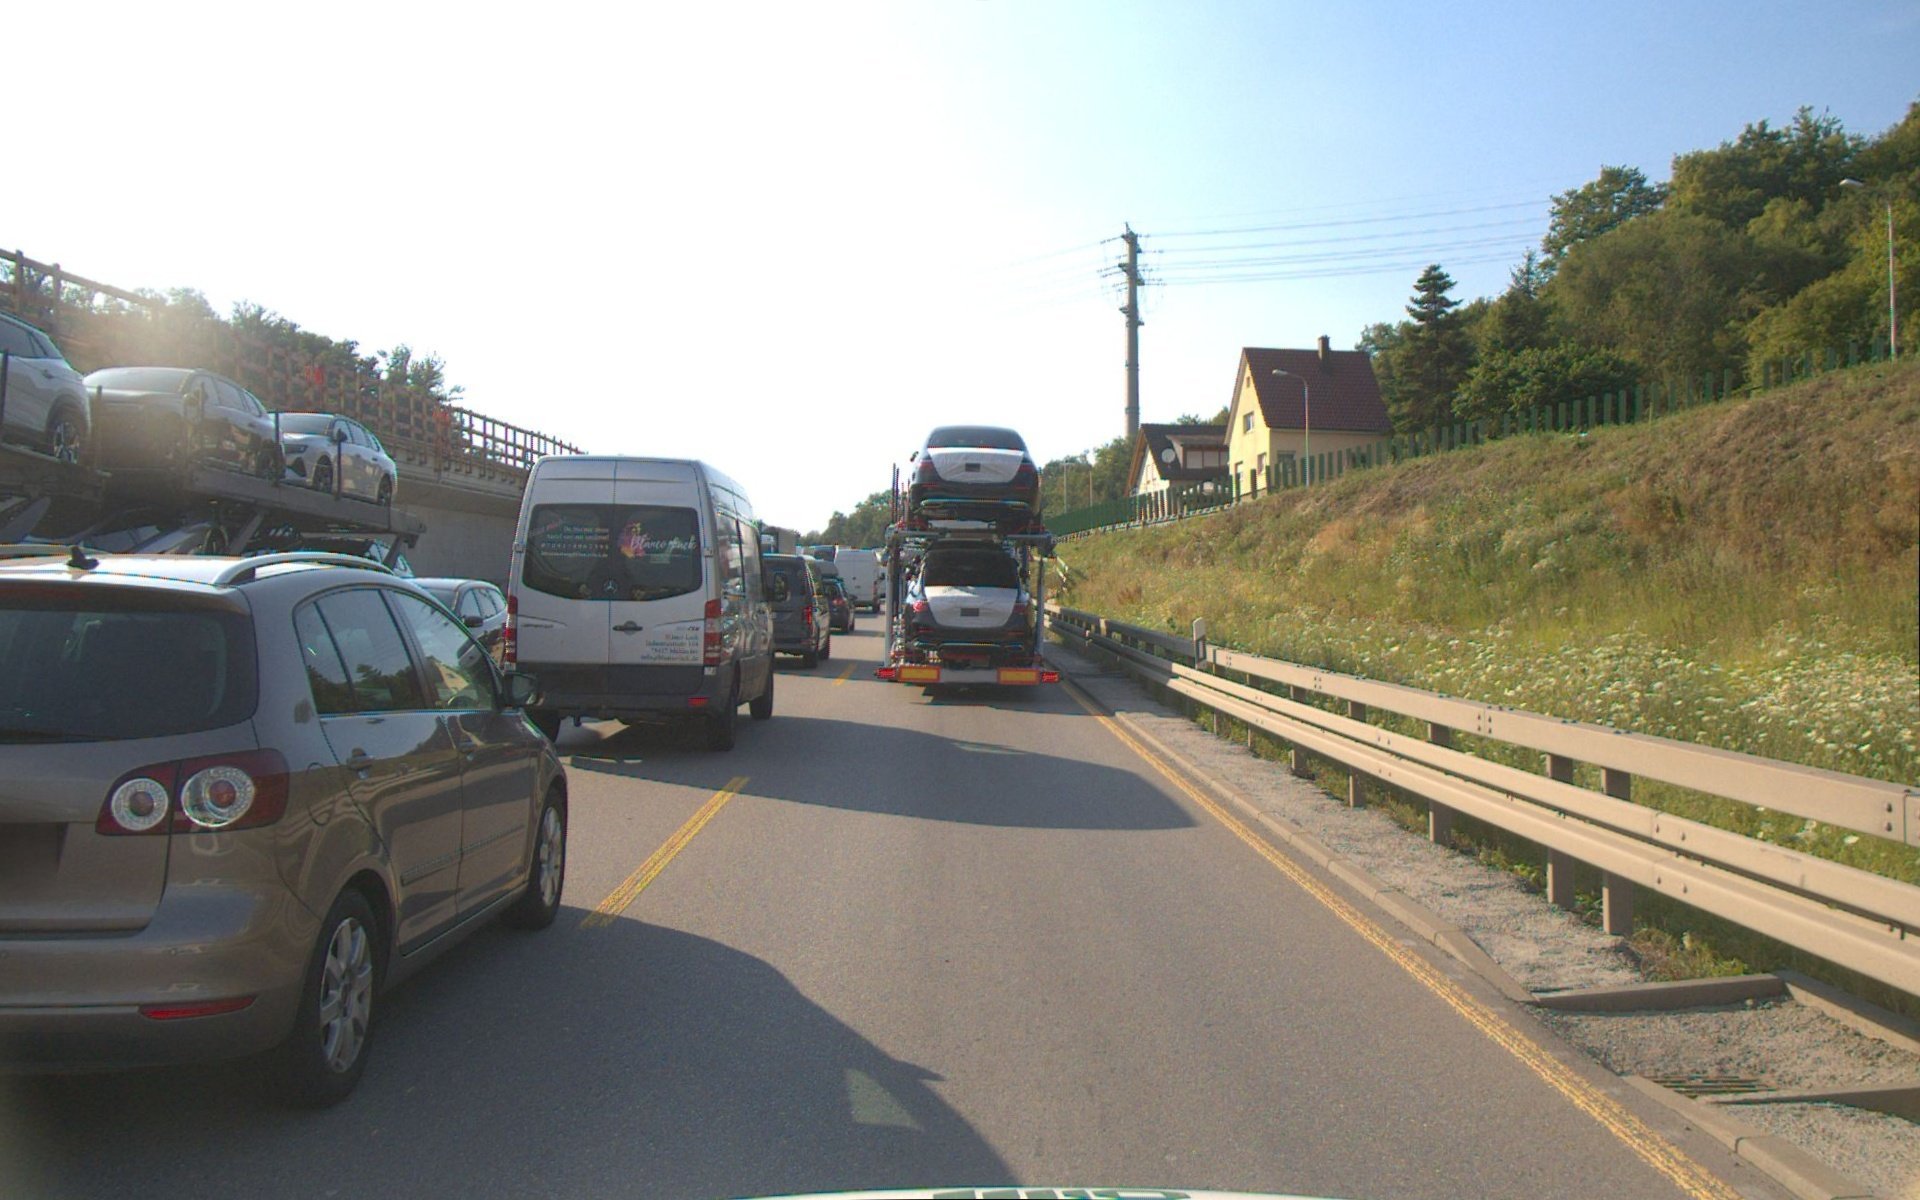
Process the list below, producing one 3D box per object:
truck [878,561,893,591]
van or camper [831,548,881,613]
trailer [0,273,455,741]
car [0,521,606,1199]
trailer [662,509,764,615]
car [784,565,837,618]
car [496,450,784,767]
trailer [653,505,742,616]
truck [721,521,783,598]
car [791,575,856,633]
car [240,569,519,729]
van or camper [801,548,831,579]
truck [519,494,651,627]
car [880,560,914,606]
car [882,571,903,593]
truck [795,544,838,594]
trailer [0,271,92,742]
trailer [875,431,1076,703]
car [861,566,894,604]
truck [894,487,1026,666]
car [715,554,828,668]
[{"bbox_3d":[-11.443,-3.652,252.886,2.154,4.504,8.225,0,0,-4],"label":"truck"},{"bbox_3d":[-4.401,-0.829,70.690,1.928,2.637,5.040,1,0,-2],"label":"van or camper"},{"bbox_3d":[-9.896,-0.851,20.378,2.715,4.101,15.760,1,0,-1],"label":"trailer"},{"bbox_3d":[-2.540,0.629,6.072,1.646,1.616,4.270,0,0,-1],"label":"car"},{"bbox_3d":[-10.757,-1.714,73.577,2.709,4.213,14.023,1,1,-1],"label":"trailer"},{"bbox_3d":[-7.475,-0.438,83.268,2.422,2.578,3.999,0,0,-2],"label":"car"},{"bbox_3d":[-3.018,0.014,16.865,1.953,2.694,5.529,0,1,-1],"label":"car"},{"bbox_3d":[-10.539,-1.588,66.919,2.709,4.213,5.975,1,1,-2],"label":"trailer"},{"bbox_3d":[-11.435,-2.173,91.415,2.803,4.078,5.656,1,0,-2],"label":"truck"},{"bbox_3d":[-3.913,0.075,47.773,1.691,1.549,3.971,1,1,-3],"label":"car"},{"bbox_3d":[-6.508,0.495,19.057,1.721,1.605,4.338,1,0,-1],"label":"car"},{"bbox_3d":[-12.920,-3.281,148.698,2.265,2.709,6.453,-1,1,-2],"label":"van or camper"},{"bbox_3d":[-10.414,-1.049,46.390,2.497,3.469,5.530,1,0,-2],"label":"truck"},{"bbox_3d":[-7.203,-1.954,187.760,3.377,5.123,9.645,1,1,-4],"label":"car"},{"bbox_3d":[-9.386,-2.488,229.352,2.715,3.044,5.594,1,0,-3],"label":"car"},{"bbox_3d":[-10.639,-2.248,123.358,2.660,3.484,8.137,-2,0,-2],"label":"truck"},{"bbox_3d":[-9.694,-0.831,12.278,2.715,4.101,7.206,1,0,-1],"label":"trailer"},{"bbox_3d":[0.085,-0.476,29.752,2.628,3.596,15.285,1,0,-1],"label":"trailer"},{"bbox_3d":[-4.867,-0.889,97.839,1.848,2.136,3.764,1,1,-2],"label":"car"},{"bbox_3d":[-0.056,-0.492,37.160,2.628,3.596,7.192,1,0,-1],"label":"truck"},{"bbox_3d":[-3.429,0.198,30.674,1.772,1.937,3.998,1,0,-3],"label":"car"}]
